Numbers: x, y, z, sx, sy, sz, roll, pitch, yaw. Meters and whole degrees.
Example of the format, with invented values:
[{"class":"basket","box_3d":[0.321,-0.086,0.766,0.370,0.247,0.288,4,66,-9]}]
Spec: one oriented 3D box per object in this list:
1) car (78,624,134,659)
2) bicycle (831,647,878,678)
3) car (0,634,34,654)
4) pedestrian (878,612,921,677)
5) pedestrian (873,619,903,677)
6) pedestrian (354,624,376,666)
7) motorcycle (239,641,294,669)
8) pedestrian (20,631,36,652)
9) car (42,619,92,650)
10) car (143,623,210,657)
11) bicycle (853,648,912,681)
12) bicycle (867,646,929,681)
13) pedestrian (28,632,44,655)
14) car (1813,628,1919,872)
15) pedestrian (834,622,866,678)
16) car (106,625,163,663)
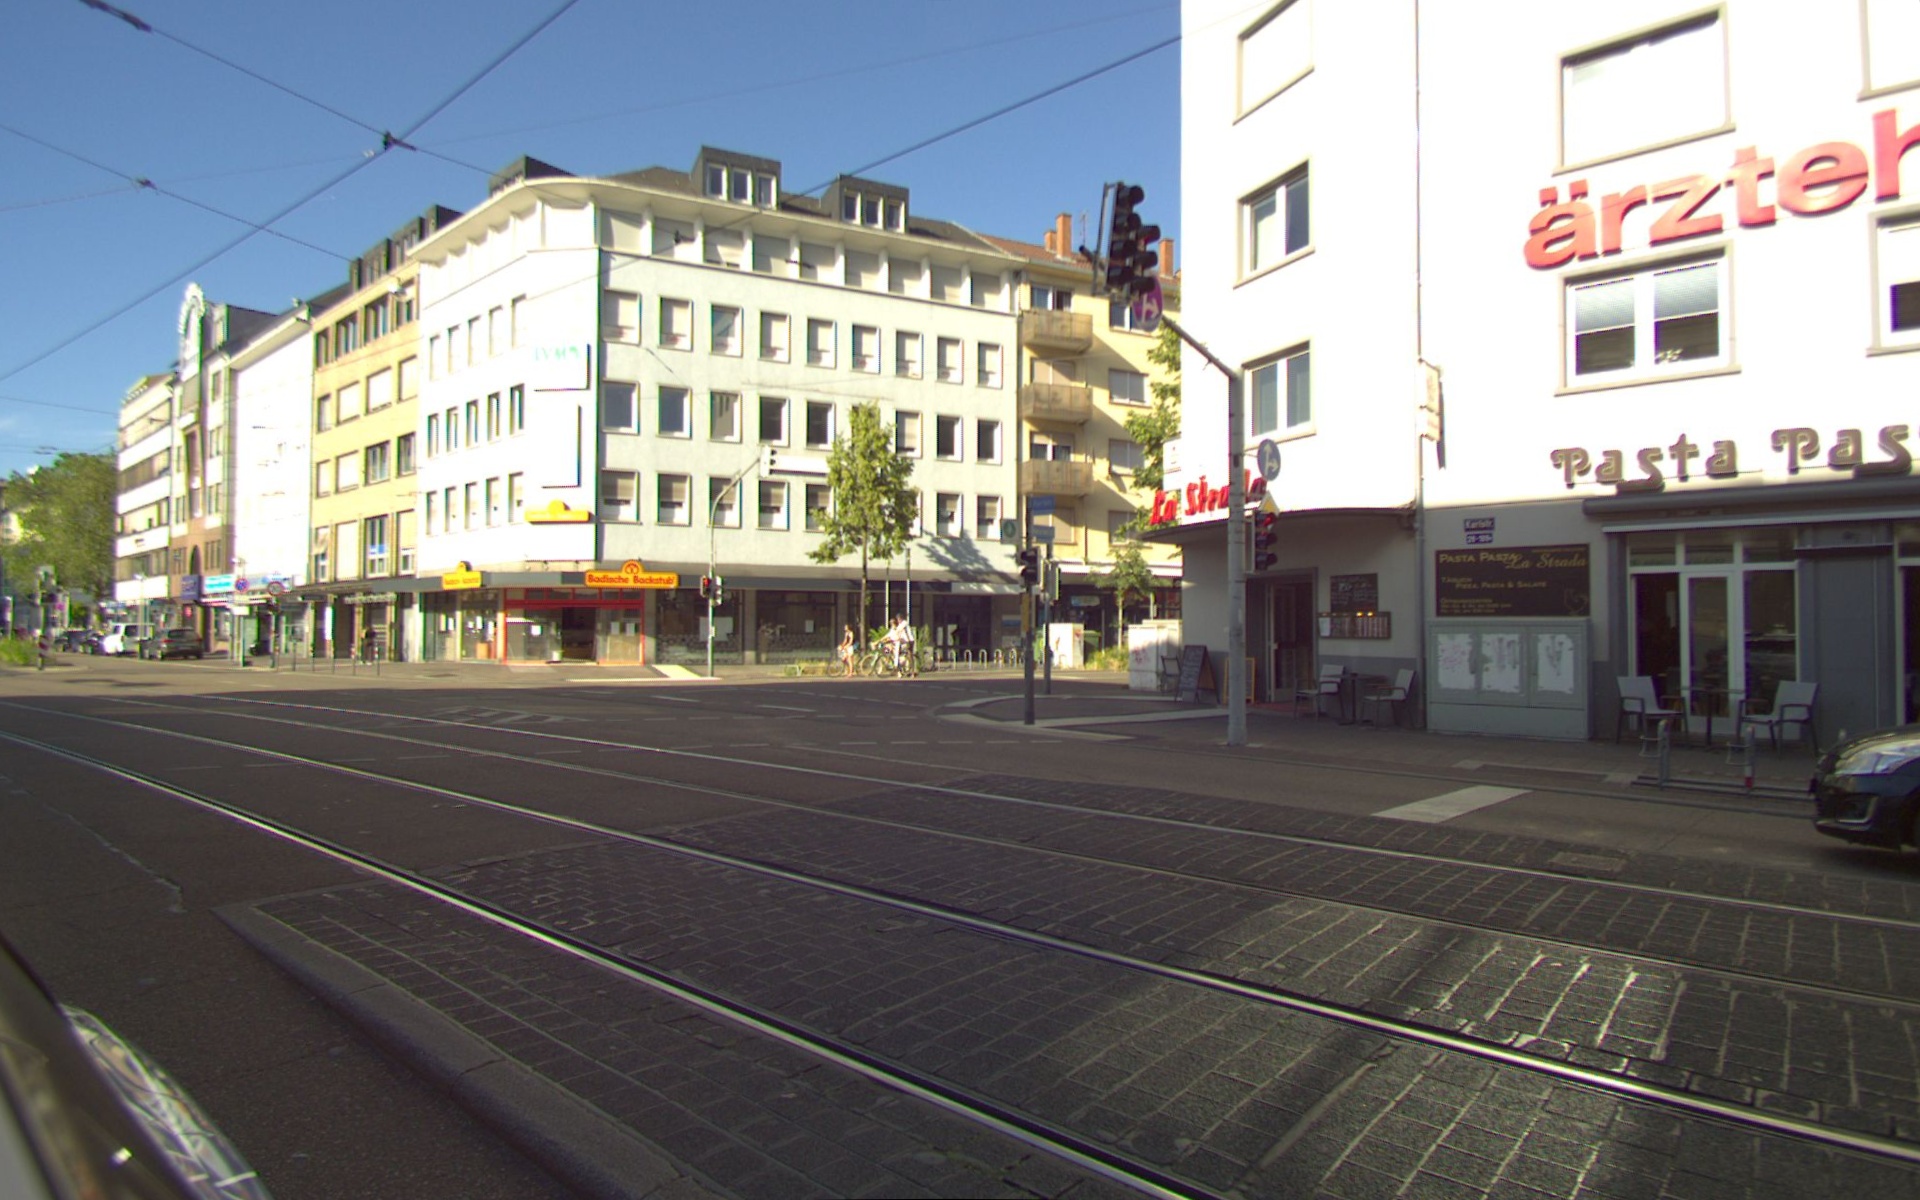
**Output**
[{"class":"car","box_3d":[-51.205,2.446,60.690,3.998,2.029,1.973,-2,-2,41]},{"class":"bicycle","box_3d":[-3.288,1.941,31.565,1.432,0.963,0.482,2,-3,-39]},{"class":"car","box_3d":[-88.367,4.030,93.537,1.999,1.811,3.945,-2,-3,41]},{"class":"pedestrian","box_3d":[-1.805,1.339,30.248,0.986,1.881,0.782,1,-5,-39]},{"class":"pedestrian","box_3d":[-2.213,1.461,30.985,0.550,1.741,0.782,1,-2,-39]},{"class":"pedestrian","box_3d":[-24.161,1.822,41.082,0.700,1.722,0.562,1,-3,-28]},{"class":"motorcycle","box_3d":[-37.469,2.955,54.688,0.999,1.517,2.226,-2,-3,38]},{"class":"pedestrian","box_3d":[-71.066,3.153,77.157,0.571,1.637,0.707,0,-2,-6]},{"class":"car","box_3d":[-59.908,2.314,67.875,3.998,2.029,1.973,-2,-2,41]},{"class":"car","box_3d":[-40.284,2.039,52.023,3.998,1.719,1.973,-2,-2,41]},{"class":"bicycle","box_3d":[-2.348,1.960,30.831,1.765,0.975,0.555,2,-3,-37]},{"class":"bicycle","box_3d":[-1.850,1.886,30.216,1.697,1.015,0.762,2,-5,-37]},{"class":"pedestrian","box_3d":[-70.475,3.314,77.205,0.571,1.728,0.707,0,-2,-6]},{"class":"car","box_3d":[7.515,0.912,5.659,4.137,1.457,1.695,-2,-5,42]},{"class":"pedestrian","box_3d":[-3.424,1.533,31.395,0.644,1.725,0.794,1,-2,-40]},{"class":"car","box_3d":[-46.712,2.471,57.231,4.843,2.029,1.971,-2,-3,44]}]
